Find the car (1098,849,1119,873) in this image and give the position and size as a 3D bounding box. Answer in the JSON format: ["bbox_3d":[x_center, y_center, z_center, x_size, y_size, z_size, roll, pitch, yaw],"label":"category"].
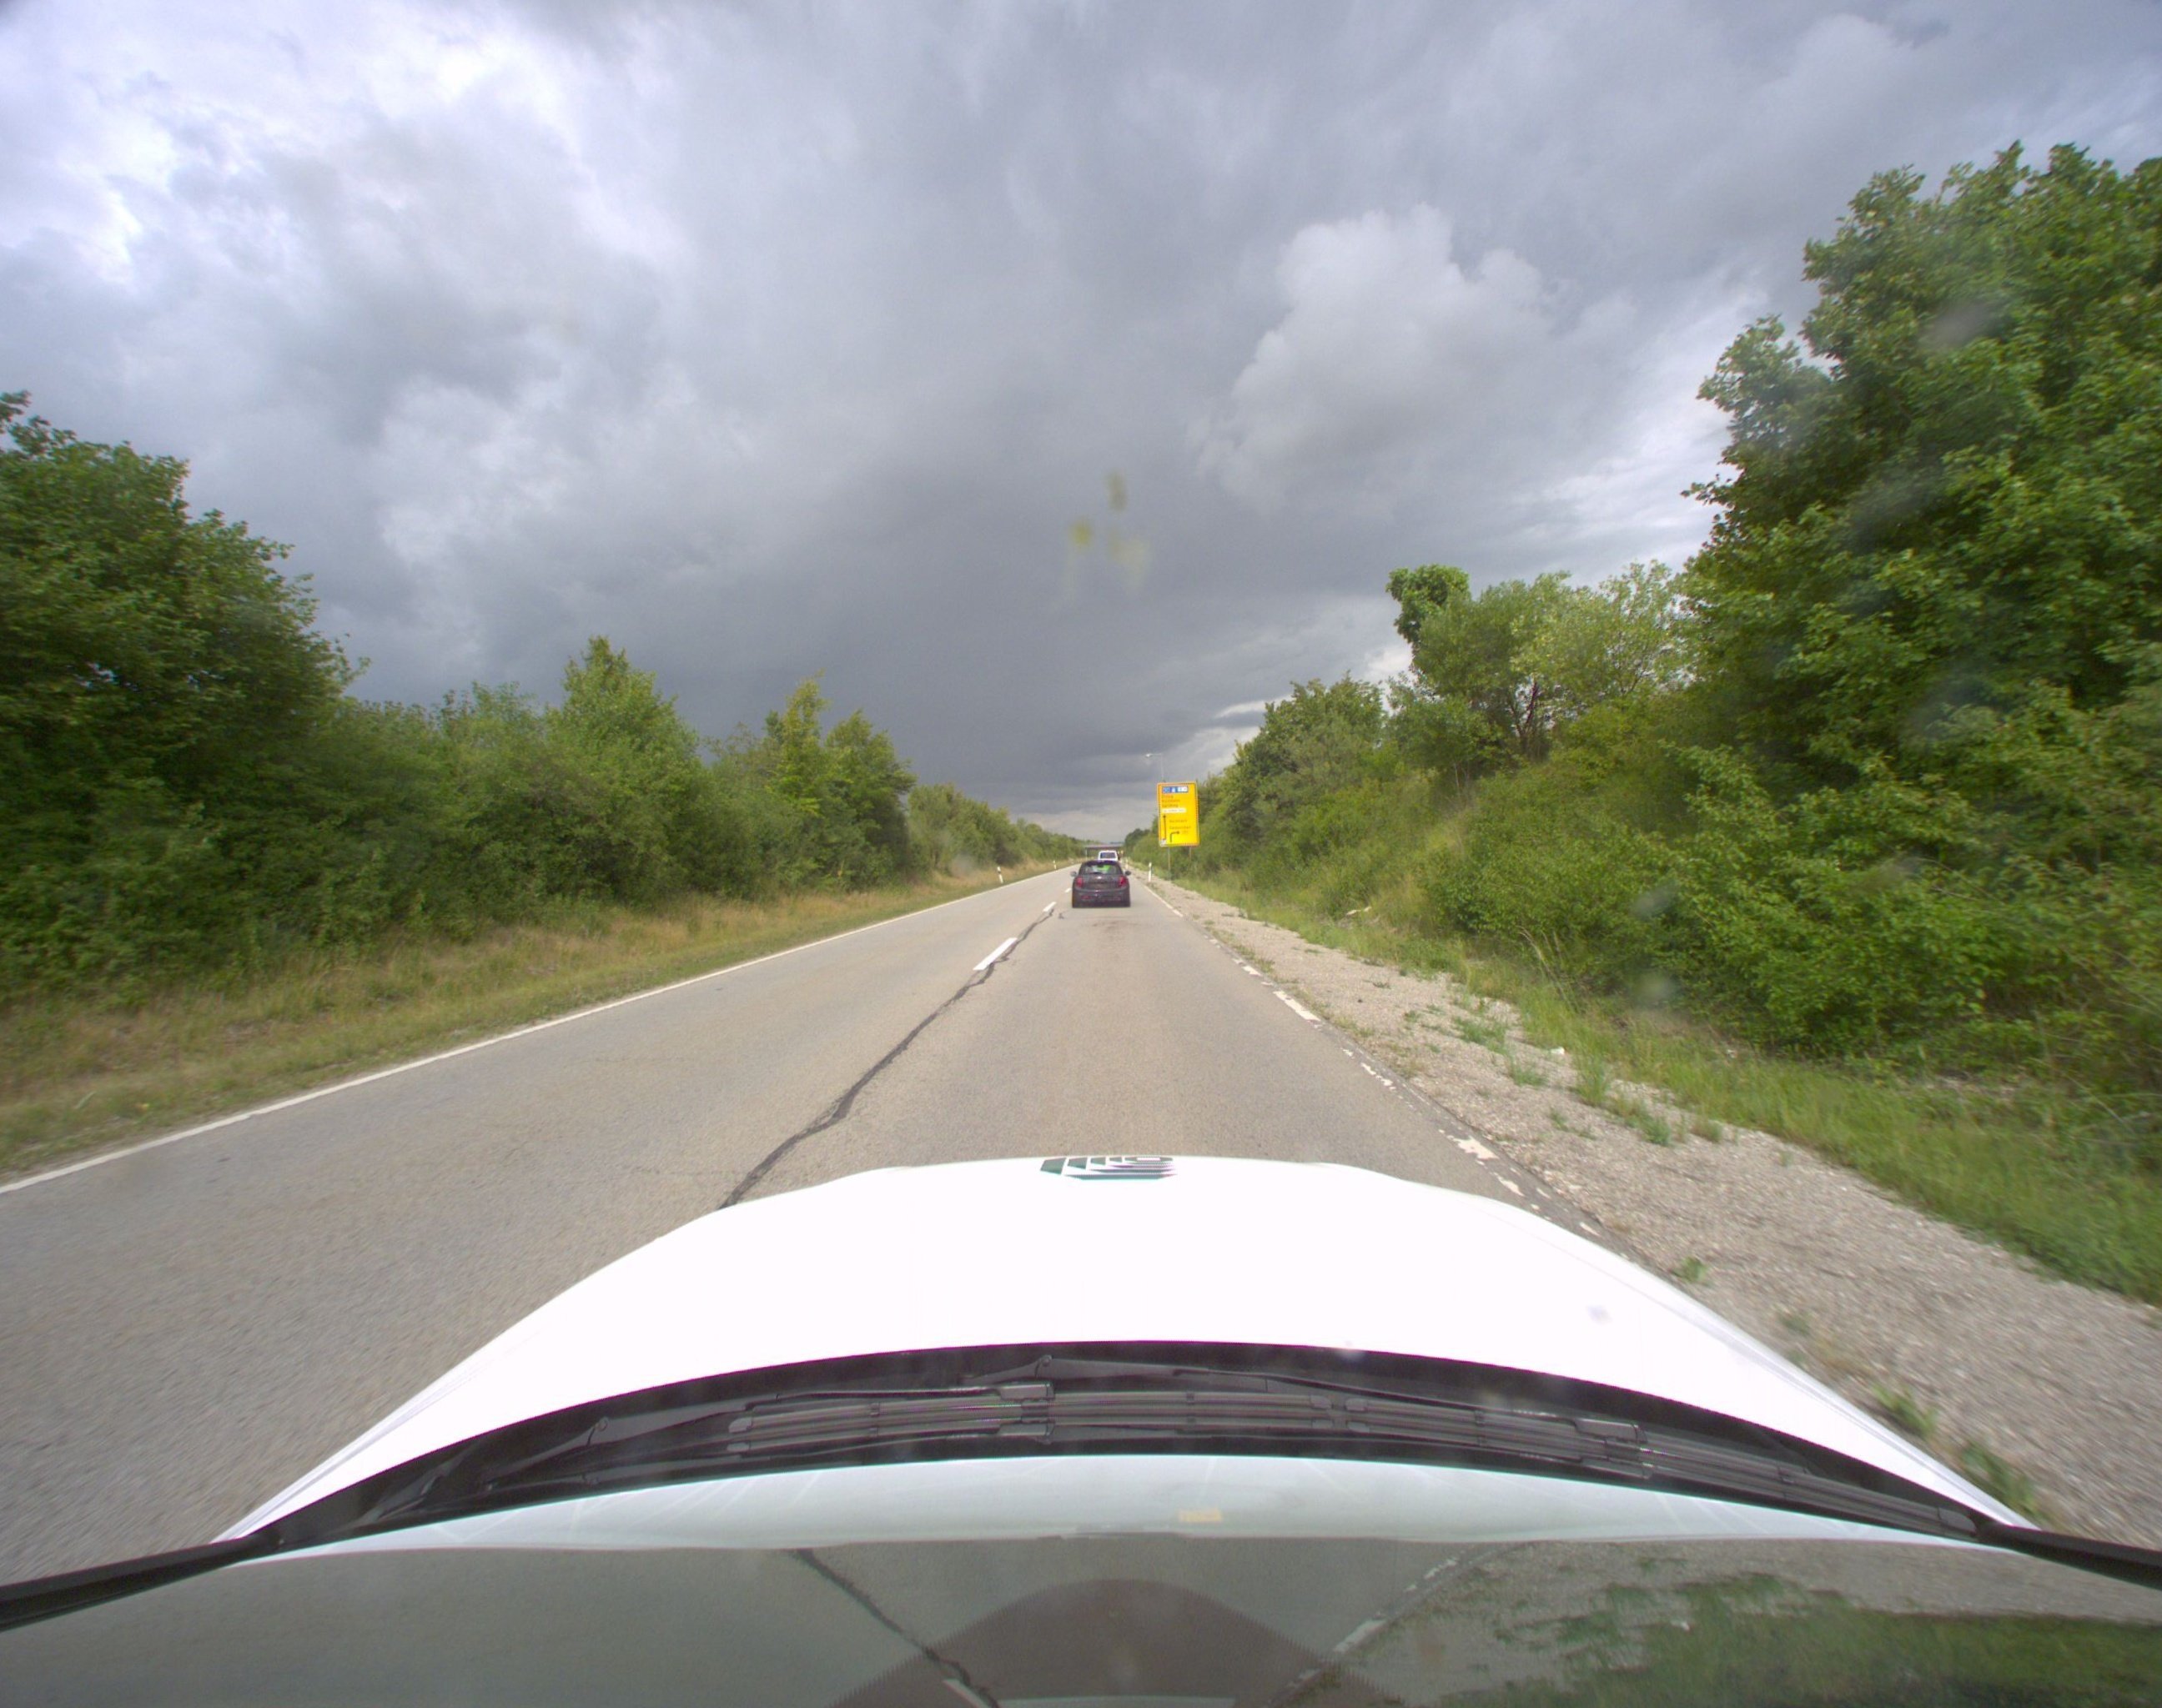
[{"bbox_3d":[2.501,0.644,73.345,1.813,2.054,4.001,-1,0,1],"label":"car"}]

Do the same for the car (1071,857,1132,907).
[{"bbox_3d":[0.641,0.826,25.496,1.750,1.427,4.001,-1,0,1],"label":"car"}]
